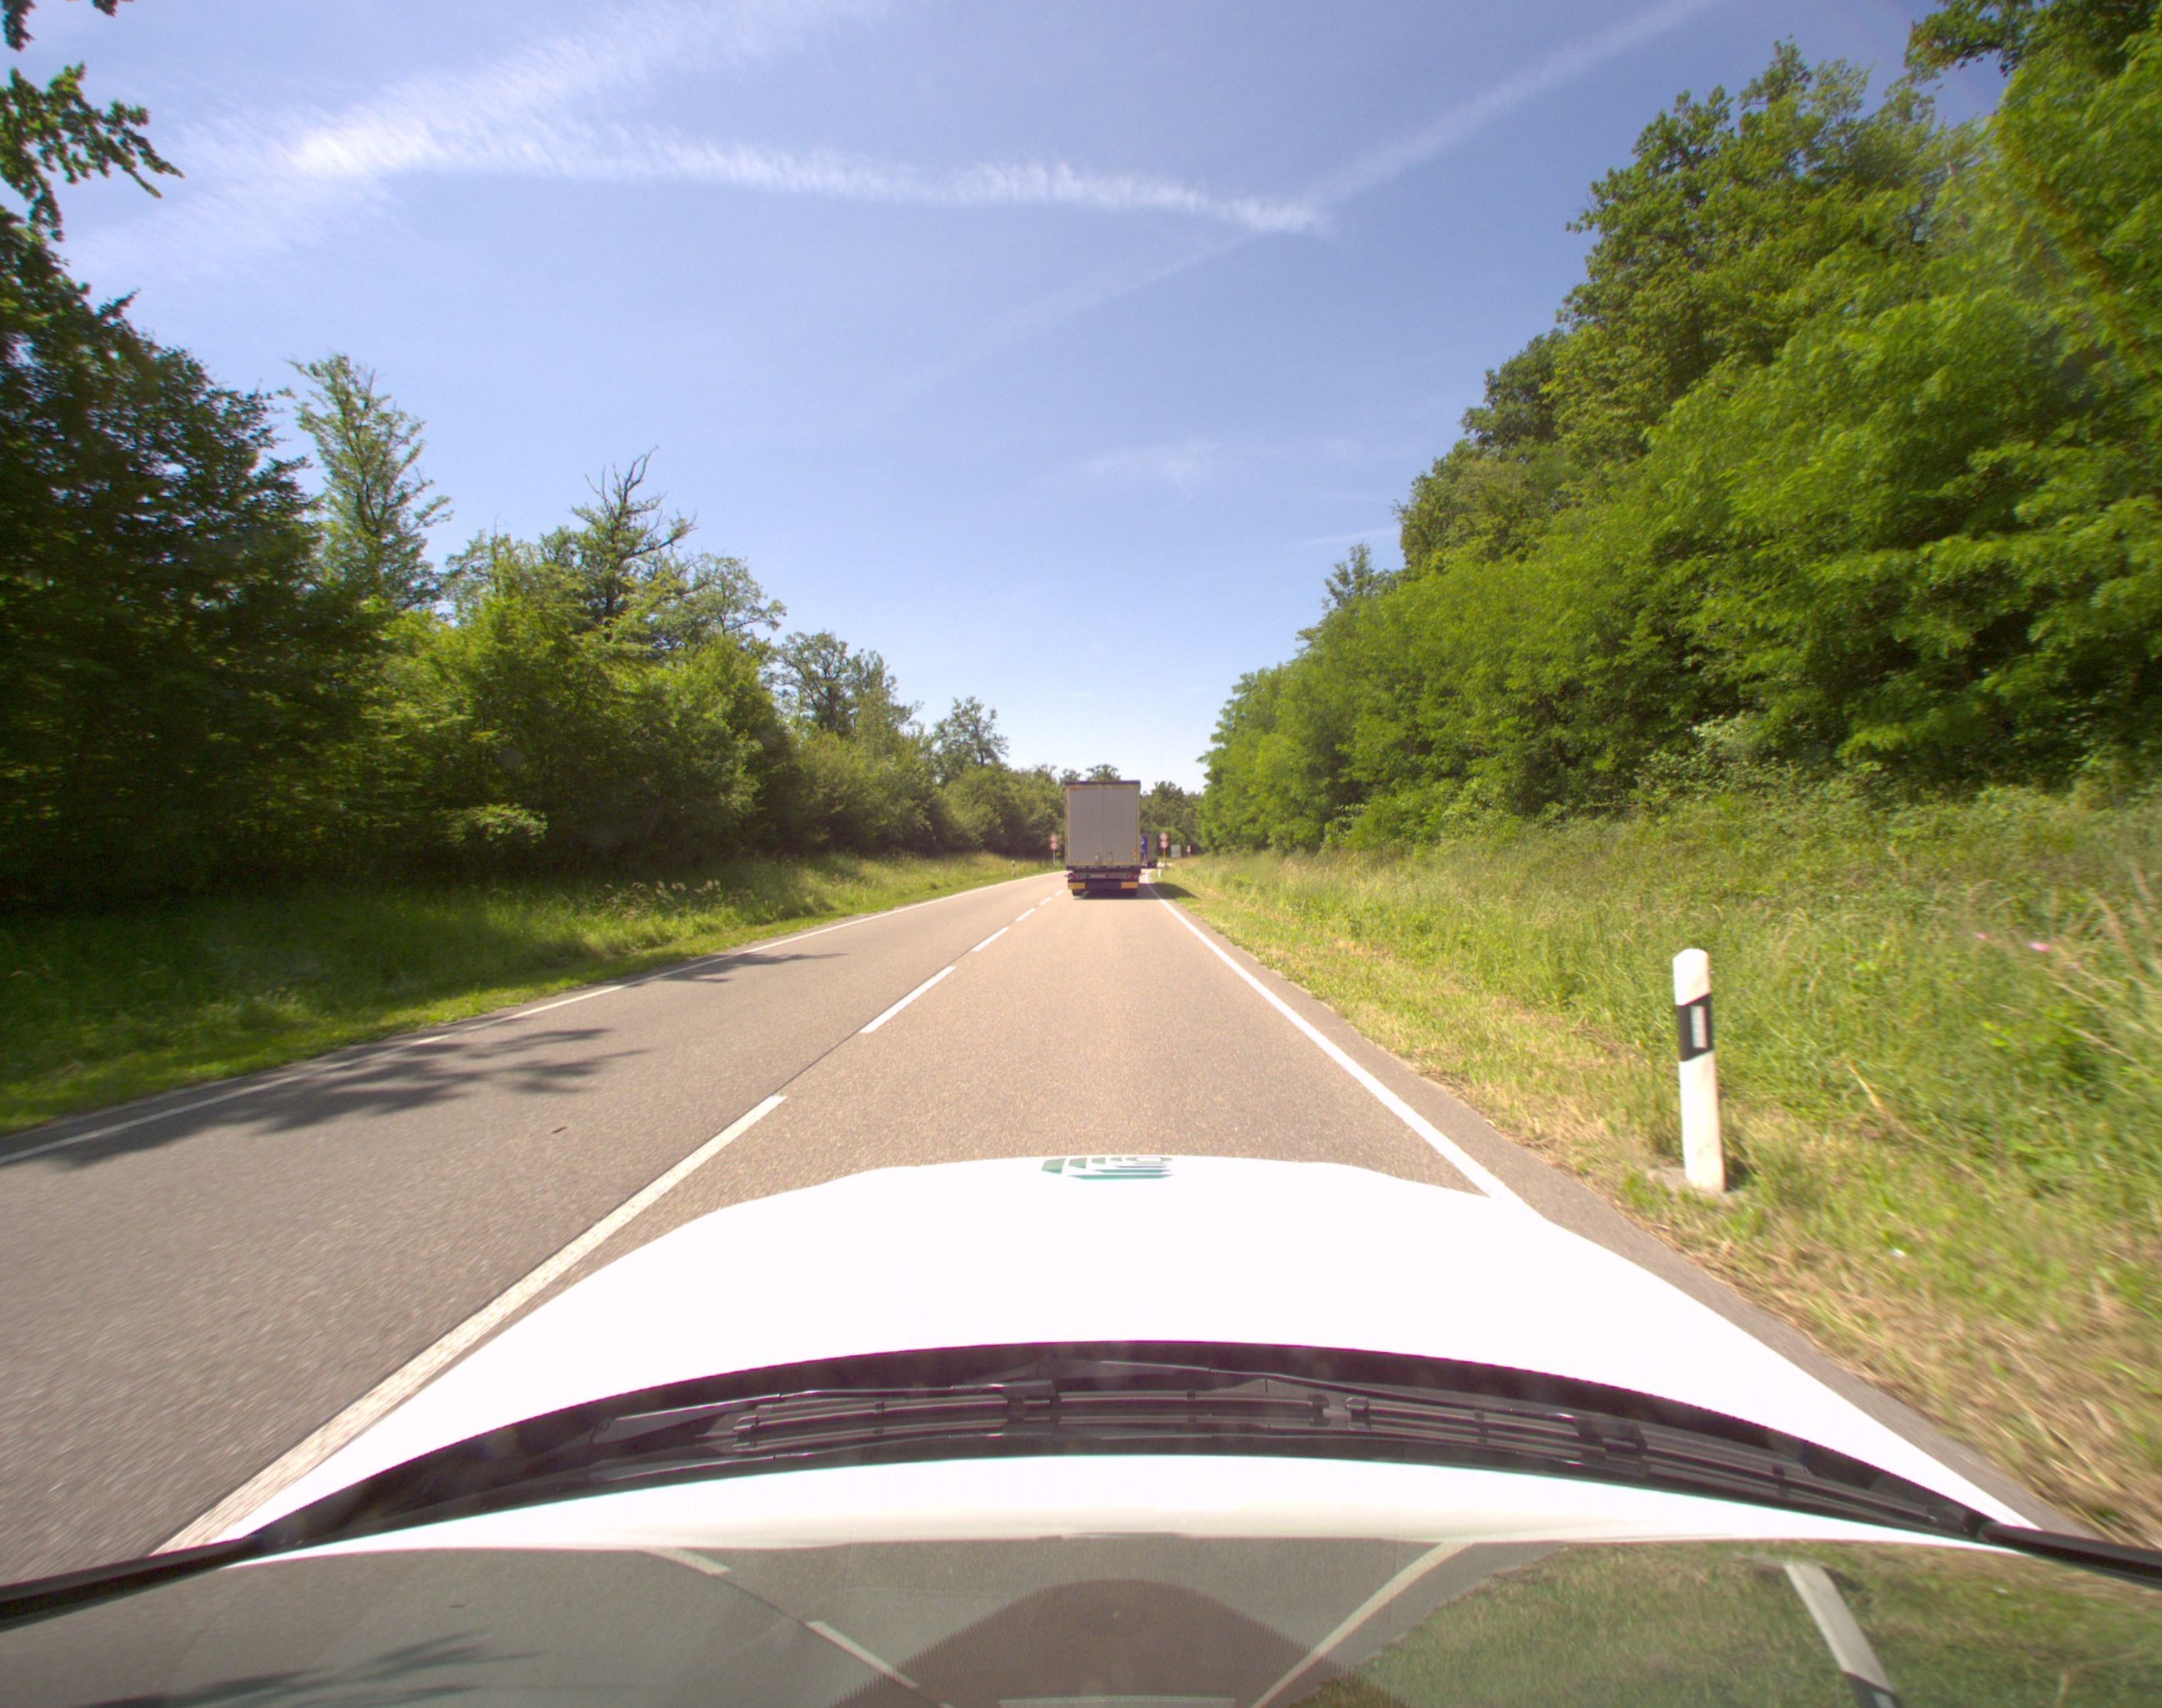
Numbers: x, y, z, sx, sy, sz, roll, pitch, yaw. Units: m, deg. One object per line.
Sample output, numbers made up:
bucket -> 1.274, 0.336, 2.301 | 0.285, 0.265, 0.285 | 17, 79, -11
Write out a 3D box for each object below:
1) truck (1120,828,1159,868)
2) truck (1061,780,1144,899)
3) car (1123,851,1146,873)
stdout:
truck -> 7.307, -0.691, 99.592 | 3.773, 4.373, 14.951 | -1, 0, 7
truck -> 0.991, -0.512, 33.229 | 2.750, 3.947, 12.205 | 0, 0, 2
car -> 4.385, 0.646, 66.897 | 1.762, 1.708, 4.003 | -1, 0, 3
